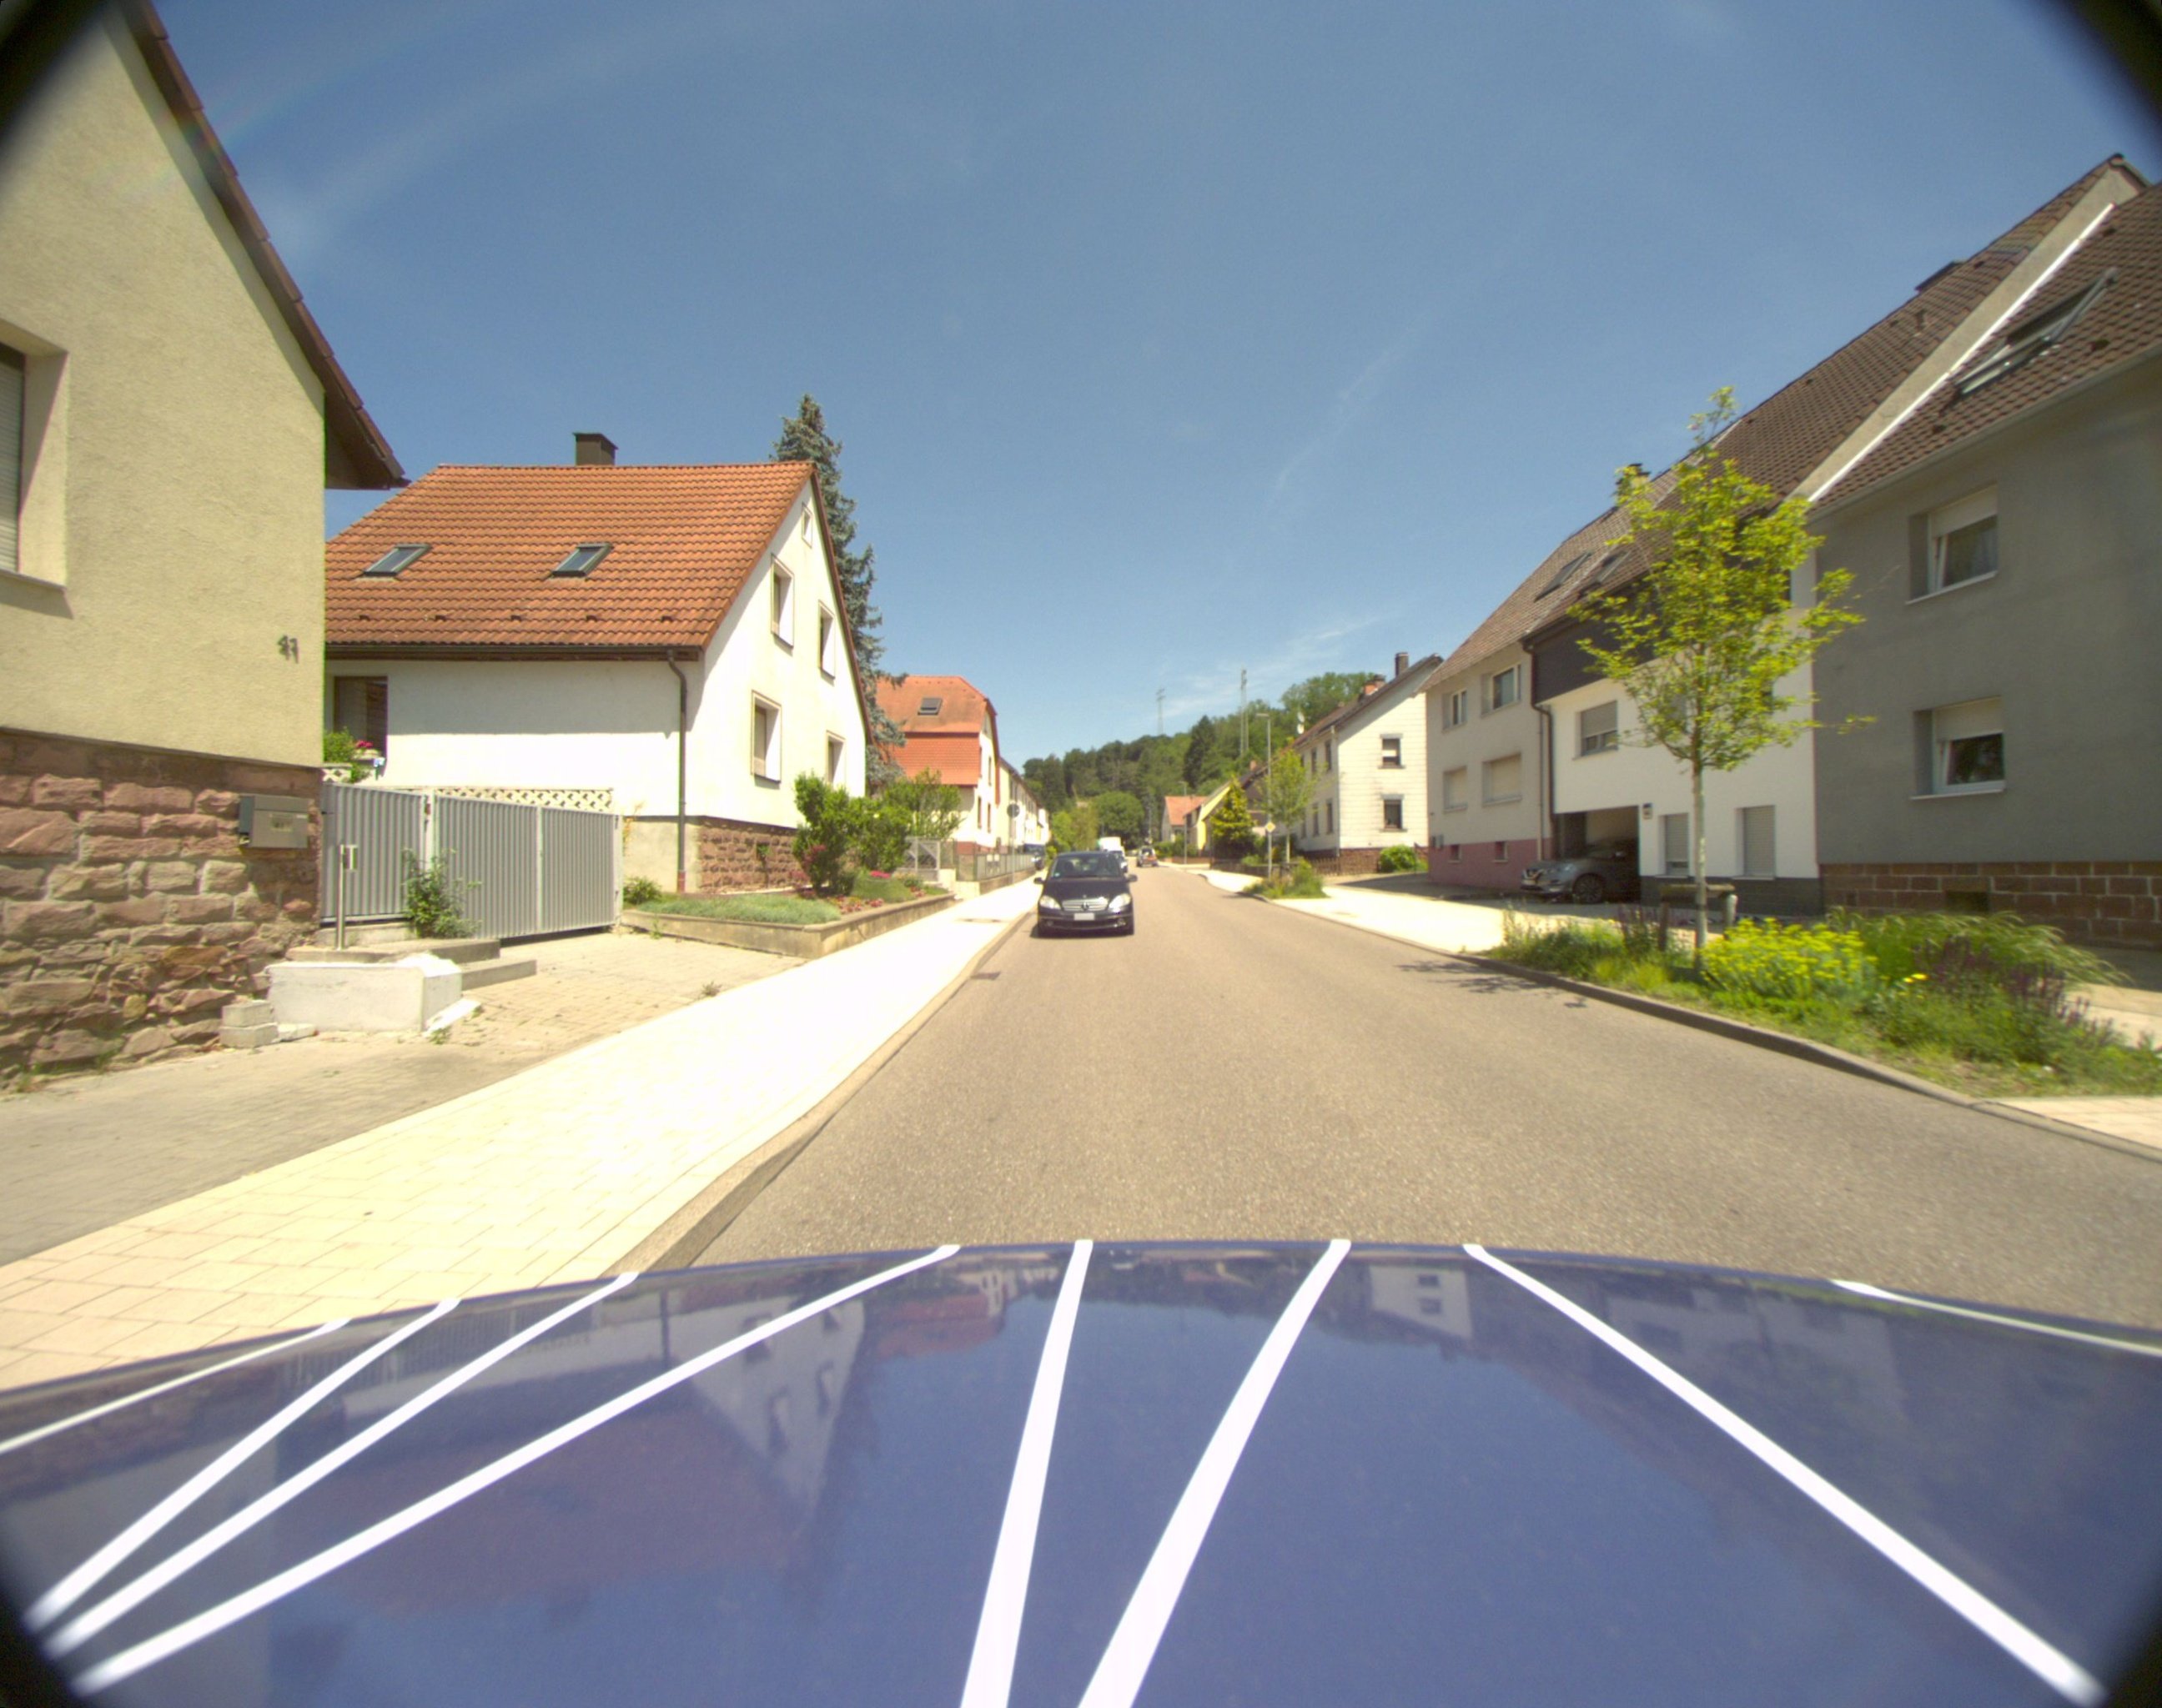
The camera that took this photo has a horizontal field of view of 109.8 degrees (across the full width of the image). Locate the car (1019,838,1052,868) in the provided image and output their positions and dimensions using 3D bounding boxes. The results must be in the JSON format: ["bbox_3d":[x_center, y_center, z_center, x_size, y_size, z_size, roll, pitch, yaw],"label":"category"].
[{"bbox_3d":[-3.440,-0.086,57.906,1.856,1.959,4.774,6,1,2],"label":"car"}]

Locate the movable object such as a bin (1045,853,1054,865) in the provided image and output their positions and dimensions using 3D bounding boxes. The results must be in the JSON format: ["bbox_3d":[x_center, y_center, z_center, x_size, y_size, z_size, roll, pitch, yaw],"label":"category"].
[{"bbox_3d":[-3.017,0.458,72.217,0.685,1.109,0.812,3,2,7],"label":"movable object such as a bin"}]

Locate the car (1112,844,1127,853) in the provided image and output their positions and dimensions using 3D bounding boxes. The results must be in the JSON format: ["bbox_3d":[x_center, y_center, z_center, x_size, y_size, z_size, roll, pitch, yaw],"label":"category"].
[{"bbox_3d":[8.067,-1.146,158.587,1.706,1.938,3.993,-2,1,-17],"label":"car"}]

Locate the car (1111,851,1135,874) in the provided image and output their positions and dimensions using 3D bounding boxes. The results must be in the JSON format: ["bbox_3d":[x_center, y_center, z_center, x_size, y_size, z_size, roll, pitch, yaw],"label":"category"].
[{"bbox_3d":[3.180,0.622,58.146,1.714,1.595,3.880,-2,0,3],"label":"car"}]

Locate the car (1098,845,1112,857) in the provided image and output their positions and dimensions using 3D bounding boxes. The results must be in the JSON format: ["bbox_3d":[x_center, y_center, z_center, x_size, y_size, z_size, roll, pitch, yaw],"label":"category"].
[{"bbox_3d":[3.879,-0.538,121.493,1.998,1.805,4.000,-2,0,3],"label":"car"}]

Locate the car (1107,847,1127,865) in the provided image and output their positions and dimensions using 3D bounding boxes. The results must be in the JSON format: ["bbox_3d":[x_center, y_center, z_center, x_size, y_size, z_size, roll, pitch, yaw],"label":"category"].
[{"bbox_3d":[3.760,0.159,78.915,1.967,1.823,4.465,1,0,3],"label":"car"}]

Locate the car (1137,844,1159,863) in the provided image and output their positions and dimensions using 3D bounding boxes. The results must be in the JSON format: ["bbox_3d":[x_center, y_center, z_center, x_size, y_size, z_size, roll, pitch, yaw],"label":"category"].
[{"bbox_3d":[6.827,-0.057,77.594,1.894,1.850,4.578,-2,0,2],"label":"car"}]

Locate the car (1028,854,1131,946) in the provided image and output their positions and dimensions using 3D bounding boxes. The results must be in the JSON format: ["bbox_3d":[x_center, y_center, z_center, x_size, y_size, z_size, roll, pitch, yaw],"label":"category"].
[{"bbox_3d":[0.080,0.819,15.466,1.790,1.595,4.076,-1,0,3],"label":"car"}]

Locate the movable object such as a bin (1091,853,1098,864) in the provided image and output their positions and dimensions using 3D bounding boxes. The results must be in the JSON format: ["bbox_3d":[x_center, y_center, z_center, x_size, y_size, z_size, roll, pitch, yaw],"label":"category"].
[{"bbox_3d":[1.669,0.591,95.977,0.794,1.387,0.925,-2,1,-1],"label":"movable object such as a bin"}]

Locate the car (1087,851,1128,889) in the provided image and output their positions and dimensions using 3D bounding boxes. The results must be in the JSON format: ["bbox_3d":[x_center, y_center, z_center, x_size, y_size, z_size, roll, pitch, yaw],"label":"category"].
[{"bbox_3d":[1.252,0.670,34.694,1.714,1.595,3.880,-2,0,3],"label":"car"}]

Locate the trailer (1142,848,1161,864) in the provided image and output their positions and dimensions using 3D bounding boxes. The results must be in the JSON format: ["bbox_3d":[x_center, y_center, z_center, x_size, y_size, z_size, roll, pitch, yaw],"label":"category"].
[{"bbox_3d":[6.739,0.176,73.193,1.578,1.388,4.403,-1,0,2],"label":"trailer"}]

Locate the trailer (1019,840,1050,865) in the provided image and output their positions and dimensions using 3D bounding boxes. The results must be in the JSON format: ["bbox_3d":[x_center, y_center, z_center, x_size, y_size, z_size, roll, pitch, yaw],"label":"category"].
[{"bbox_3d":[-3.832,-0.149,62.922,1.320,2.002,2.278,-1,1,44],"label":"trailer"}]

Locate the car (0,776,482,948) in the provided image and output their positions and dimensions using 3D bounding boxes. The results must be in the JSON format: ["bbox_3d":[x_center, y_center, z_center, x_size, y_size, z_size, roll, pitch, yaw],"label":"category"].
[{"bbox_3d":[-9.694,0.088,8.849,3.997,1.696,1.690,-2,1,-1],"label":"car"}]

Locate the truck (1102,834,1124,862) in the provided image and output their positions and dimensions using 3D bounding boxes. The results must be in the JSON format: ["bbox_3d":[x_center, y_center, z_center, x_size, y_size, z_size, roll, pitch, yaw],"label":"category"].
[{"bbox_3d":[4.352,-0.795,102.062,2.805,3.394,8.121,-2,0,3],"label":"truck"}]

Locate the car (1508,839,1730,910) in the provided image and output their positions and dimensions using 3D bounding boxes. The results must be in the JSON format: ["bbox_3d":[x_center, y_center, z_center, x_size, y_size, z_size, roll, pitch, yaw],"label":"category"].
[{"bbox_3d":[12.762,0.463,18.221,3.996,1.536,1.832,-1,0,2],"label":"car"}]
